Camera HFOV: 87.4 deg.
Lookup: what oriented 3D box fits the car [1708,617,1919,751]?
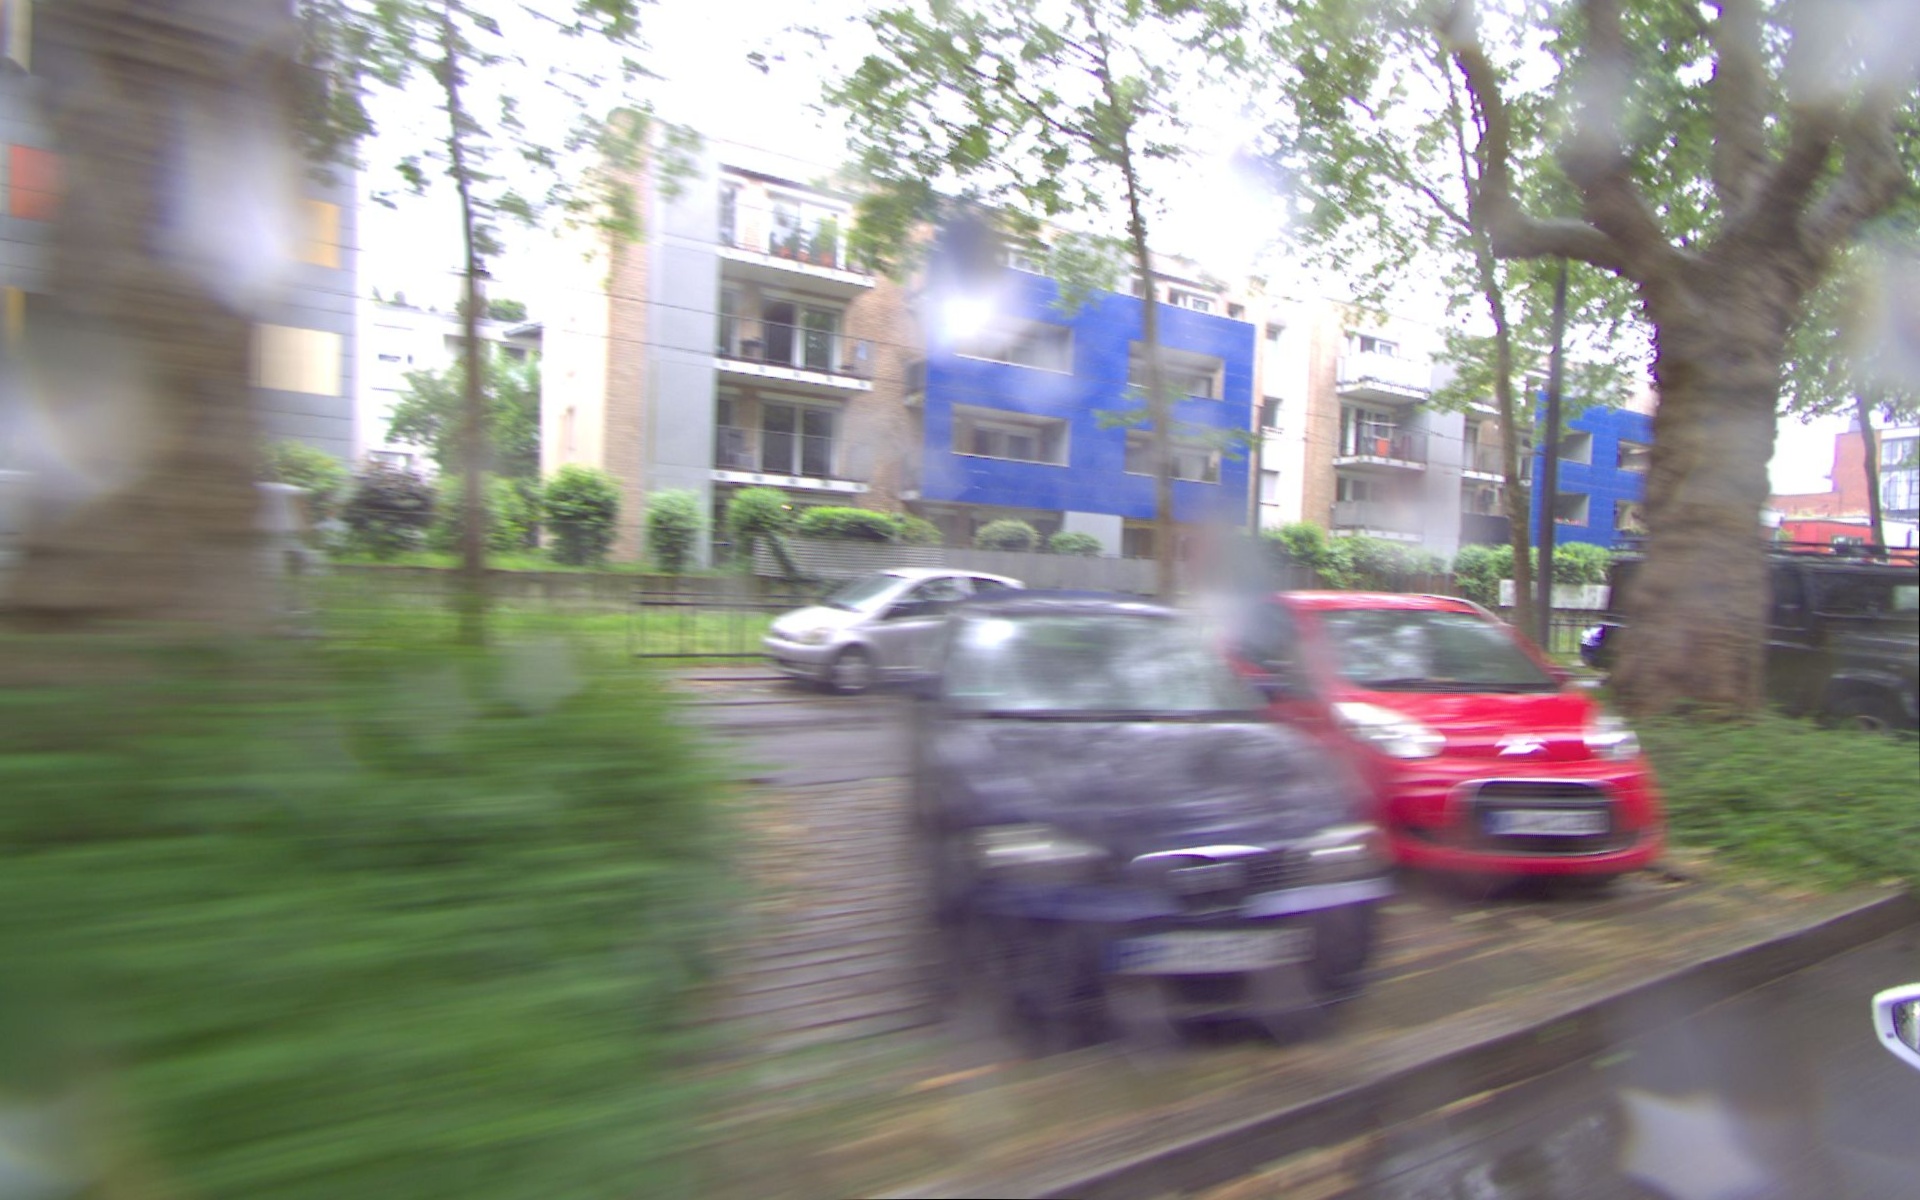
[{"bbox_3d":[10.952,0.929,11.060,1.811,1.343,4.658,1,0,-2],"label":"car"}]

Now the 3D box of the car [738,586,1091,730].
[{"bbox_3d":[-0.546,0.667,13.023,4.168,1.554,1.894,1,1,-32],"label":"car"}]

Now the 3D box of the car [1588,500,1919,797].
[{"bbox_3d":[8.610,0.405,10.000,1.971,2.313,4.662,1,0,4],"label":"car"}]

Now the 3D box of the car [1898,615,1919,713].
[{"bbox_3d":[15.663,1.010,14.012,1.612,1.487,3.506,1,0,-8],"label":"car"}]

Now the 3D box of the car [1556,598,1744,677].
[{"bbox_3d":[15.363,0.808,22.327,4.168,1.554,1.894,1,1,-32],"label":"car"}]

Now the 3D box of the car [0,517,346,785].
[{"bbox_3d":[-8.188,0.327,8.173,5.378,2.024,2.041,1,3,-34],"label":"car"}]

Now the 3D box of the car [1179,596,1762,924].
[{"bbox_3d":[2.706,0.732,6.305,1.747,1.455,3.502,1,0,-2],"label":"car"}]

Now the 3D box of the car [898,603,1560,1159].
[{"bbox_3d":[0.634,0.776,4.758,1.747,1.454,4.044,1,0,-5],"label":"car"}]

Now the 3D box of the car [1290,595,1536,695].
[{"bbox_3d":[8.212,0.766,18.112,4.371,1.554,1.894,1,1,-32],"label":"car"}]
